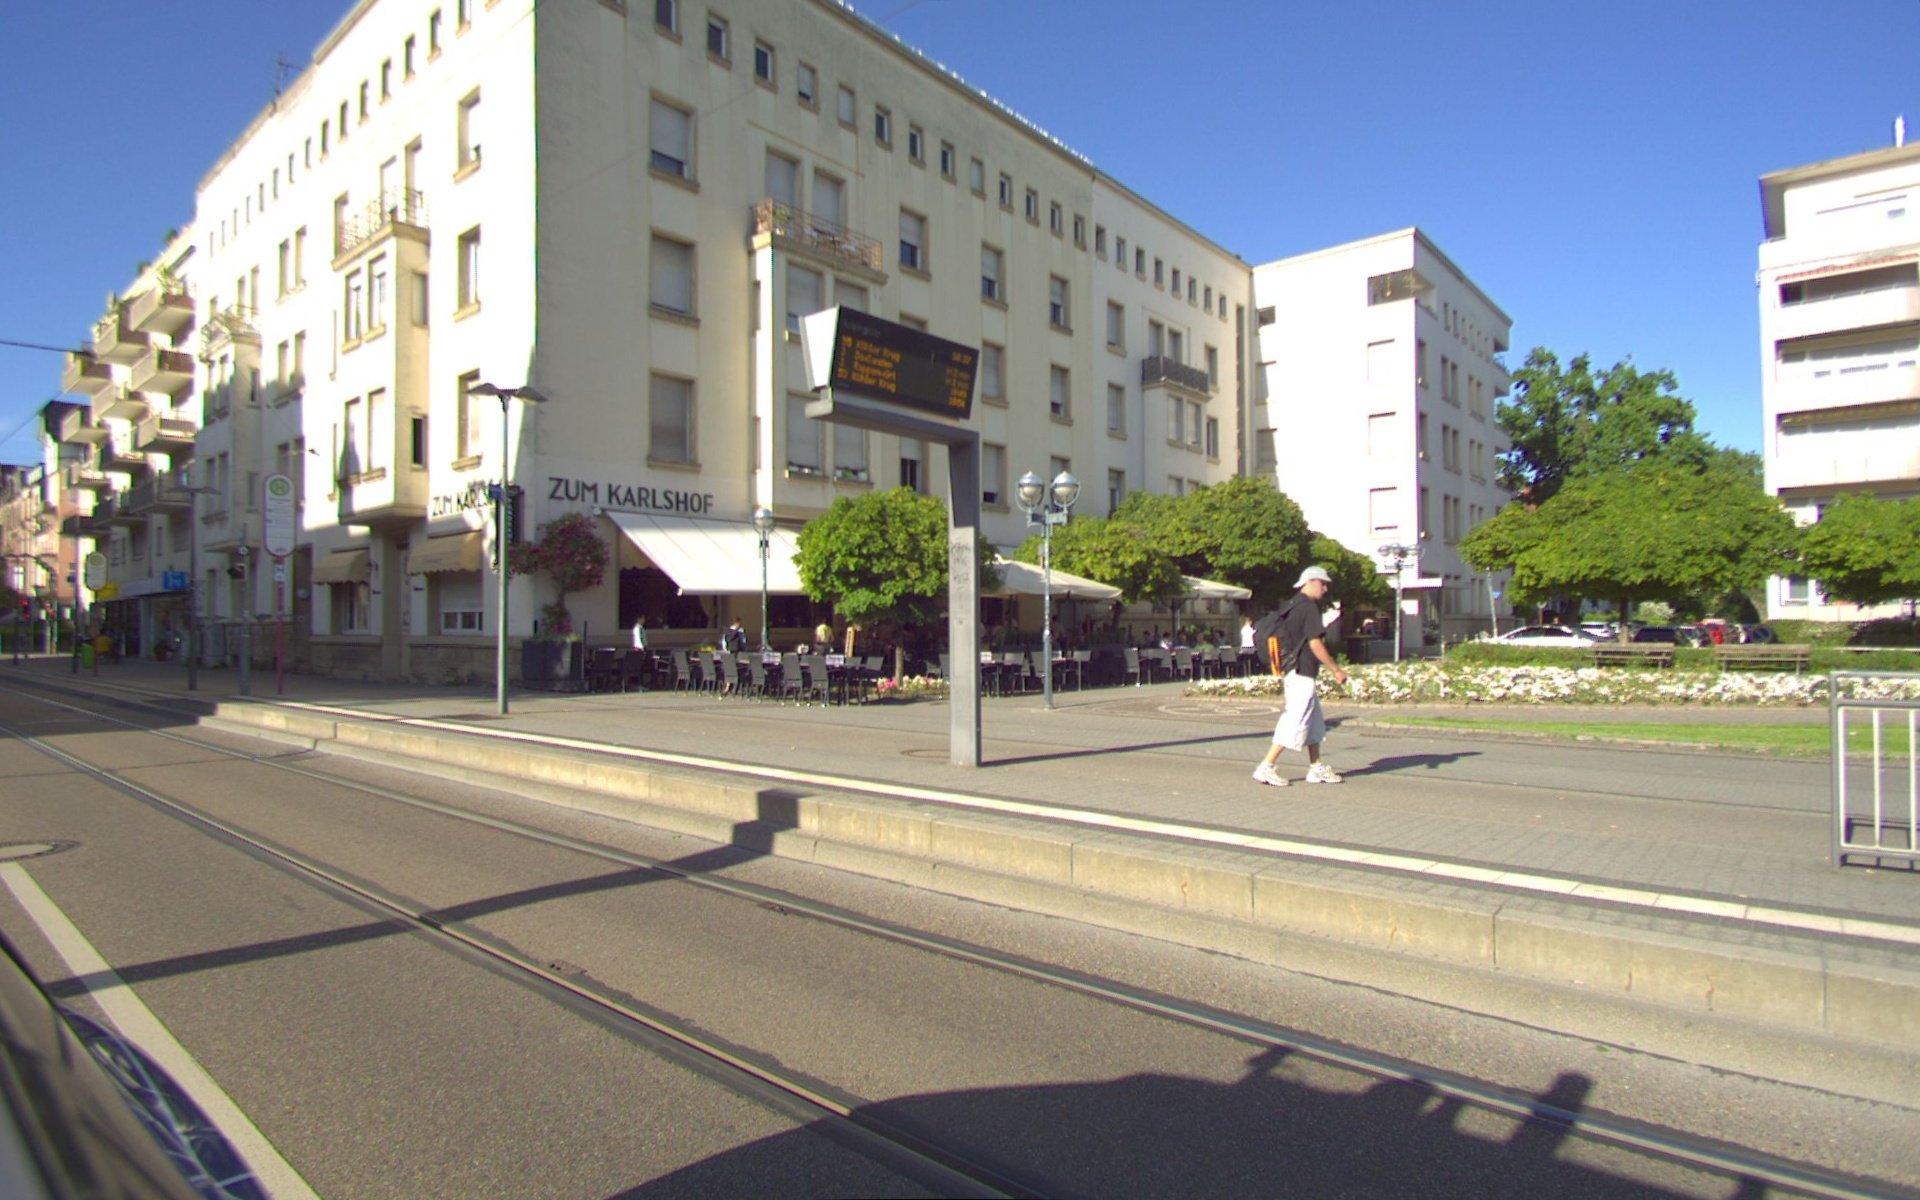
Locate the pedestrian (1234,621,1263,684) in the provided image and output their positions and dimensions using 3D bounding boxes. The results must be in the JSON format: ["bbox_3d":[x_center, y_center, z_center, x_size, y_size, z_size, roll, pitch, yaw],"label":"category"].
[{"bbox_3d":[8.276,1.508,29.077,0.677,1.750,0.671,-3,-5,14],"label":"pedestrian"}]

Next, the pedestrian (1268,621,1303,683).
[{"bbox_3d":[9.466,1.524,29.490,0.710,1.750,0.673,-2,-5,1],"label":"pedestrian"}]

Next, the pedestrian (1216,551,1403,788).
[{"bbox_3d":[2.666,0.526,7.841,0.958,1.693,0.998,1,-3,-12],"label":"pedestrian"}]

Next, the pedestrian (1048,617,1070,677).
[{"bbox_3d":[3.057,1.449,31.337,0.641,1.837,0.576,-1,-2,5],"label":"pedestrian"}]

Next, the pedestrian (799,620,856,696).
[{"bbox_3d":[-2.966,1.282,22.650,0.755,1.657,1.054,-2,-2,36],"label":"pedestrian"}]

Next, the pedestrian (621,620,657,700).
[{"bbox_3d":[-6.839,1.282,21.519,0.662,1.658,0.753,0,-5,-22],"label":"pedestrian"}]

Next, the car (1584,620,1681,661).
[{"bbox_3d":[25.833,1.545,38.887,2.932,1.497,1.399,-2,-3,41],"label":"car"}]

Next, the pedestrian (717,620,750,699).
[{"bbox_3d":[-4.866,1.292,21.778,0.662,1.658,0.678,-1,-5,-12],"label":"pedestrian"}]

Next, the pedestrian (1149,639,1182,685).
[{"bbox_3d":[5.912,1.795,29.113,0.672,1.280,0.636,-5,-6,36],"label":"pedestrian"}]

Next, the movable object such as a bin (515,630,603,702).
[{"bbox_3d":[-8.279,1.332,20.907,1.127,1.410,1.302,-2,-3,40],"label":"movable object such as a bin"}]

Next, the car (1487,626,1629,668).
[{"bbox_3d":[19.569,1.517,33.191,3.713,1.310,1.973,-2,-2,41],"label":"car"}]
